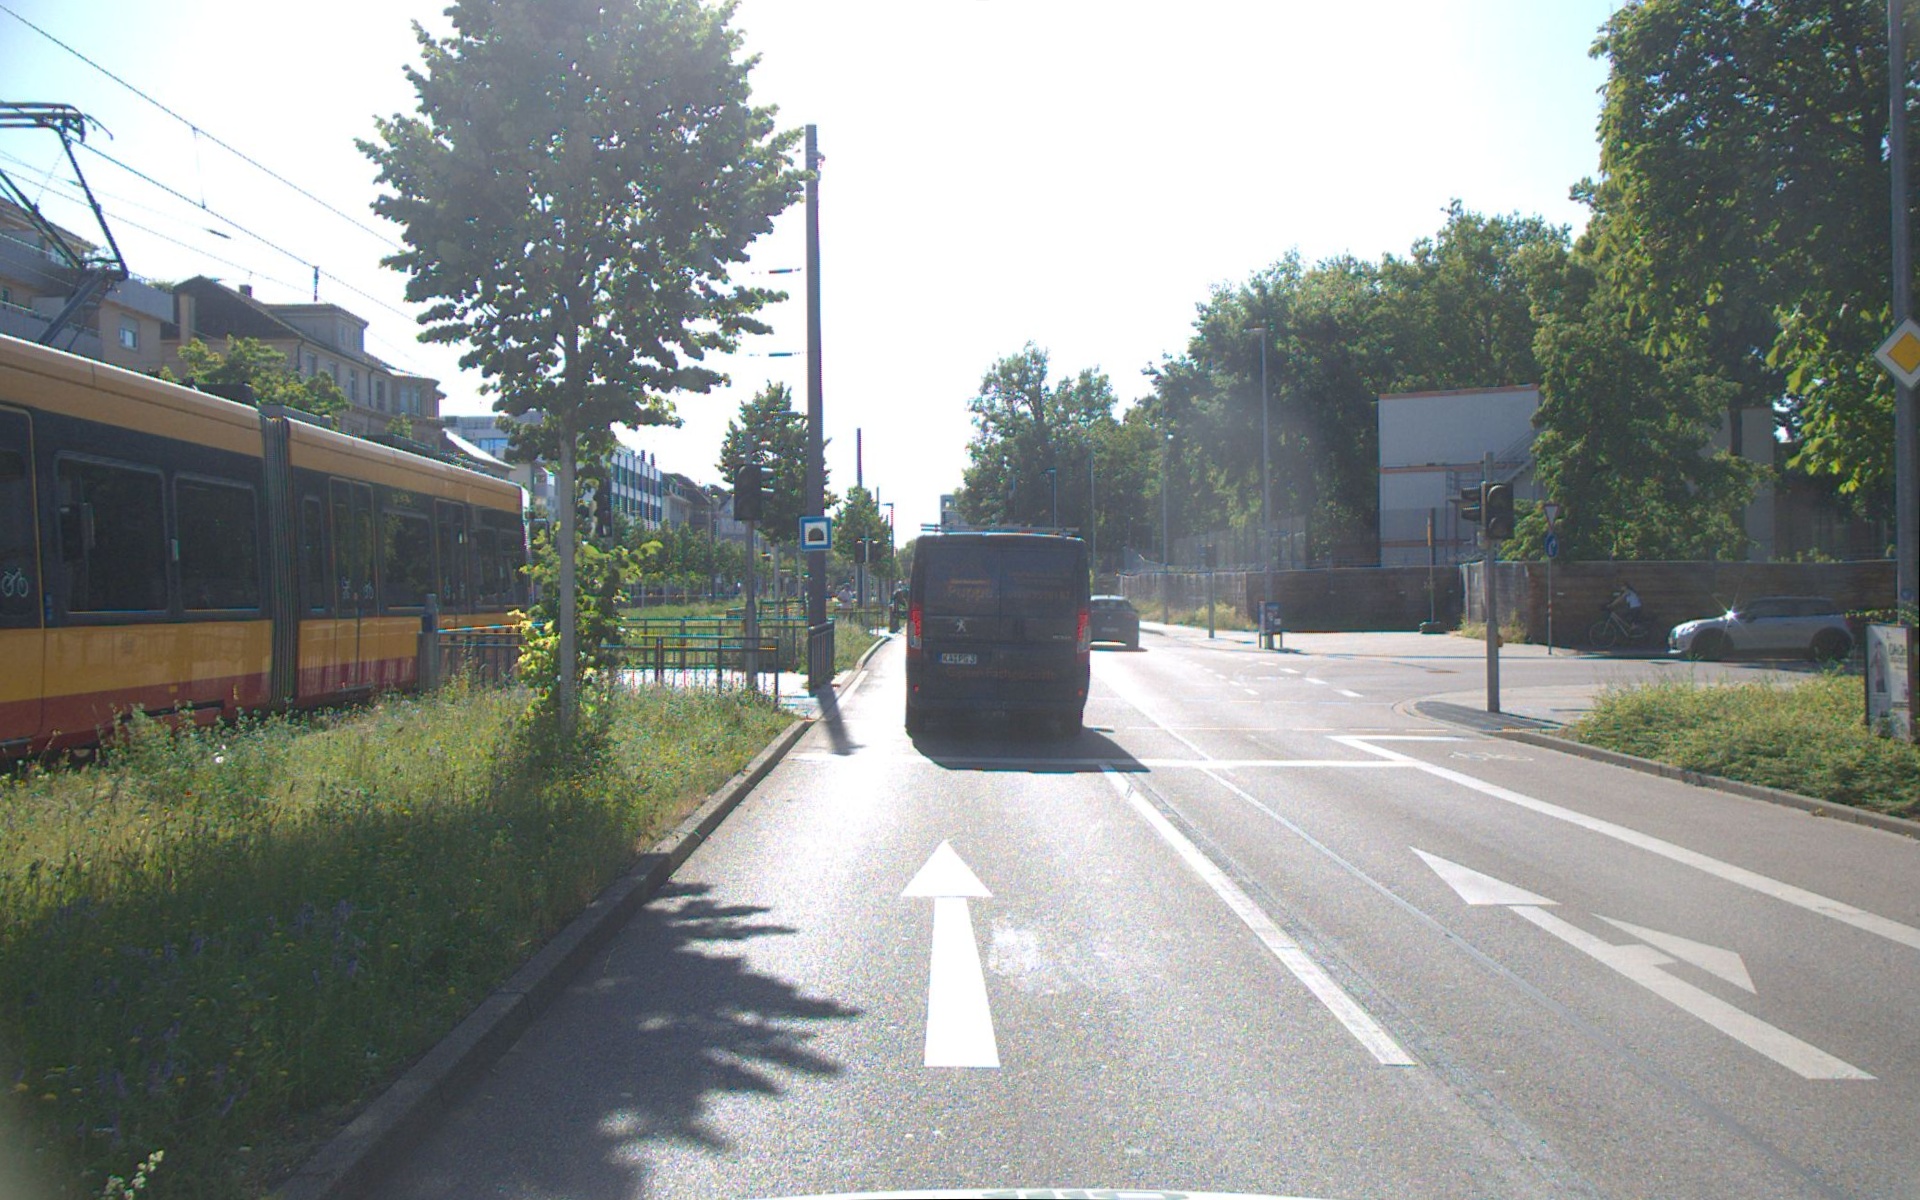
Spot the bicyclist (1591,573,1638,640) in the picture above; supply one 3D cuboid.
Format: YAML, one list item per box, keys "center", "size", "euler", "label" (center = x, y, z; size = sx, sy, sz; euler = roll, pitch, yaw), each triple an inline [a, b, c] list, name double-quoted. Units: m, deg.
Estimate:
- center: [16.958, 0.165, 42.865]
  size: [0.833, 1.702, 0.742]
  euler: [-2, 0, -7]
  label: "bicyclist"

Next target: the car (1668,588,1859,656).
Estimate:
- center: [18.119, 0.473, 37.469]
  size: [3.621, 1.461, 1.774]
  euler: [0, 0, 15]
  label: "car"

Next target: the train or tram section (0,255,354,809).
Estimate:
- center: [-7.481, -0.465, 12.493]
  size: [1.953, 3.733, 11.312]
  euler: [0, 0, -2]
  label: "train or tram section"

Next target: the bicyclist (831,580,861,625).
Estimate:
- center: [-3.992, 0.086, 57.913]
  size: [0.816, 1.539, 0.723]
  euler: [0, 0, -27]
  label: "bicyclist"

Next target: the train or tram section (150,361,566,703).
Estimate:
- center: [-7.963, -0.764, 23.920]
  size: [1.953, 3.733, 11.681]
  euler: [0, 0, -1]
  label: "train or tram section"

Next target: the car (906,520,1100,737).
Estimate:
- center: [0.393, 0.298, 19.444]
  size: [2.040, 2.288, 3.999]
  euler: [0, 0, -2]
  label: "car"

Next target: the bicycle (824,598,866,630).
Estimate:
- center: [-4.060, 0.489, 58.017]
  size: [0.724, 1.110, 2.064]
  euler: [0, 0, -27]
  label: "bicycle"

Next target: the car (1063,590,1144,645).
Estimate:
- center: [4.012, 0.470, 46.673]
  size: [1.728, 1.488, 3.997]
  euler: [0, 0, -3]
  label: "car"

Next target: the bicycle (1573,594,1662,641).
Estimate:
- center: [17.056, 0.449, 42.925]
  size: [2.077, 1.132, 0.603]
  euler: [-2, 0, -8]
  label: "bicycle"
